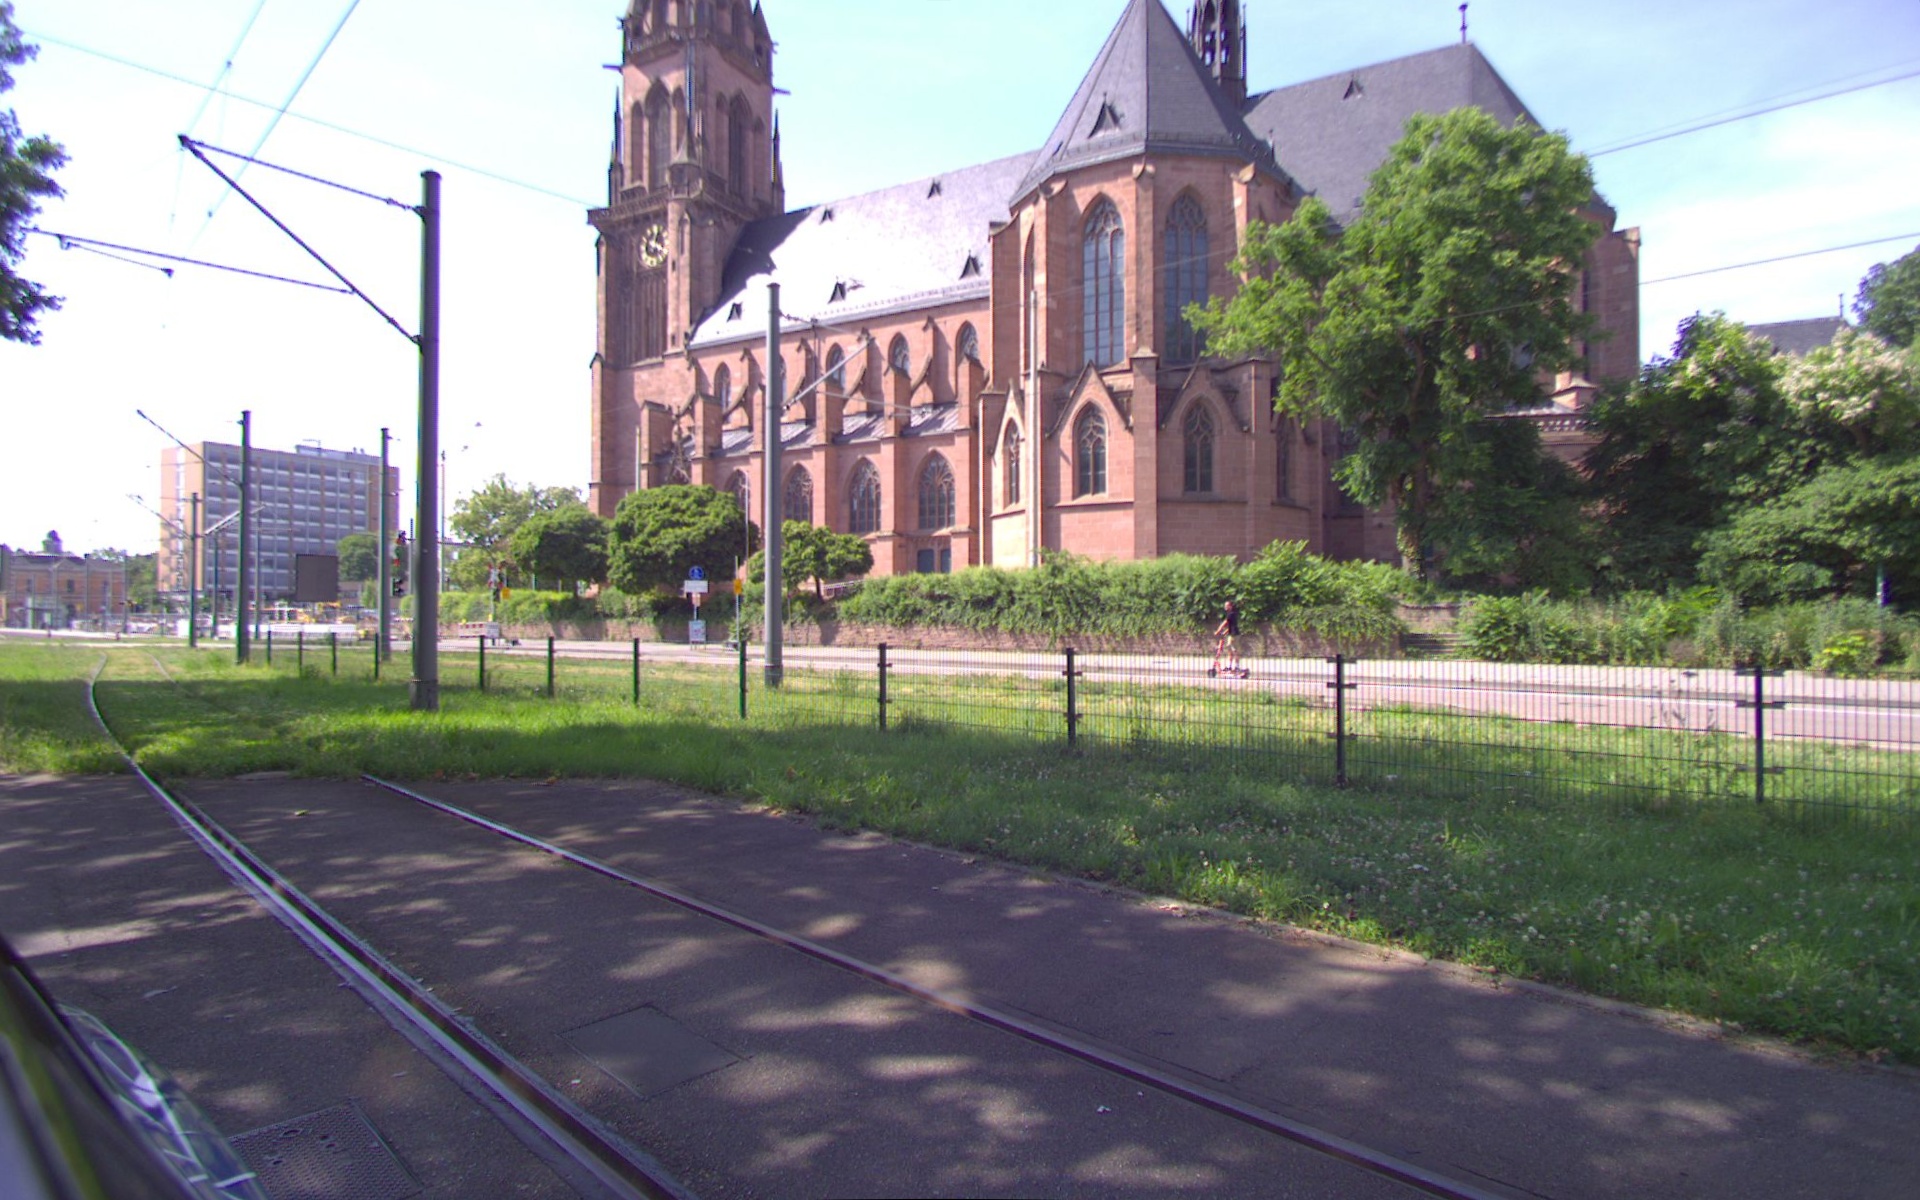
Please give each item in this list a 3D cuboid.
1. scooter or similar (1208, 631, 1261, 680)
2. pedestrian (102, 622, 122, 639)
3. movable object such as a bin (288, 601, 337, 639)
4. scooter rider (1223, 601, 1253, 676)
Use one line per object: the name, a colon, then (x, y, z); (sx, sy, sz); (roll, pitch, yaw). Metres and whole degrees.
scooter or similar: (7.003, 1.400, 25.800); (1.261, 1.213, 0.653); (-1, -1, 21)
pedestrian: (-94.186, 3.377, 112.420); (1.420, 1.820, 1.409); (-1, -2, 37)
movable object such as a bin: (-68.455, 2.101, 107.038); (2.904, 3.911, 3.327); (0, -2, 8)
scooter rider: (7.092, 0.976, 25.774); (0.664, 1.881, 0.659); (-1, -2, 21)
